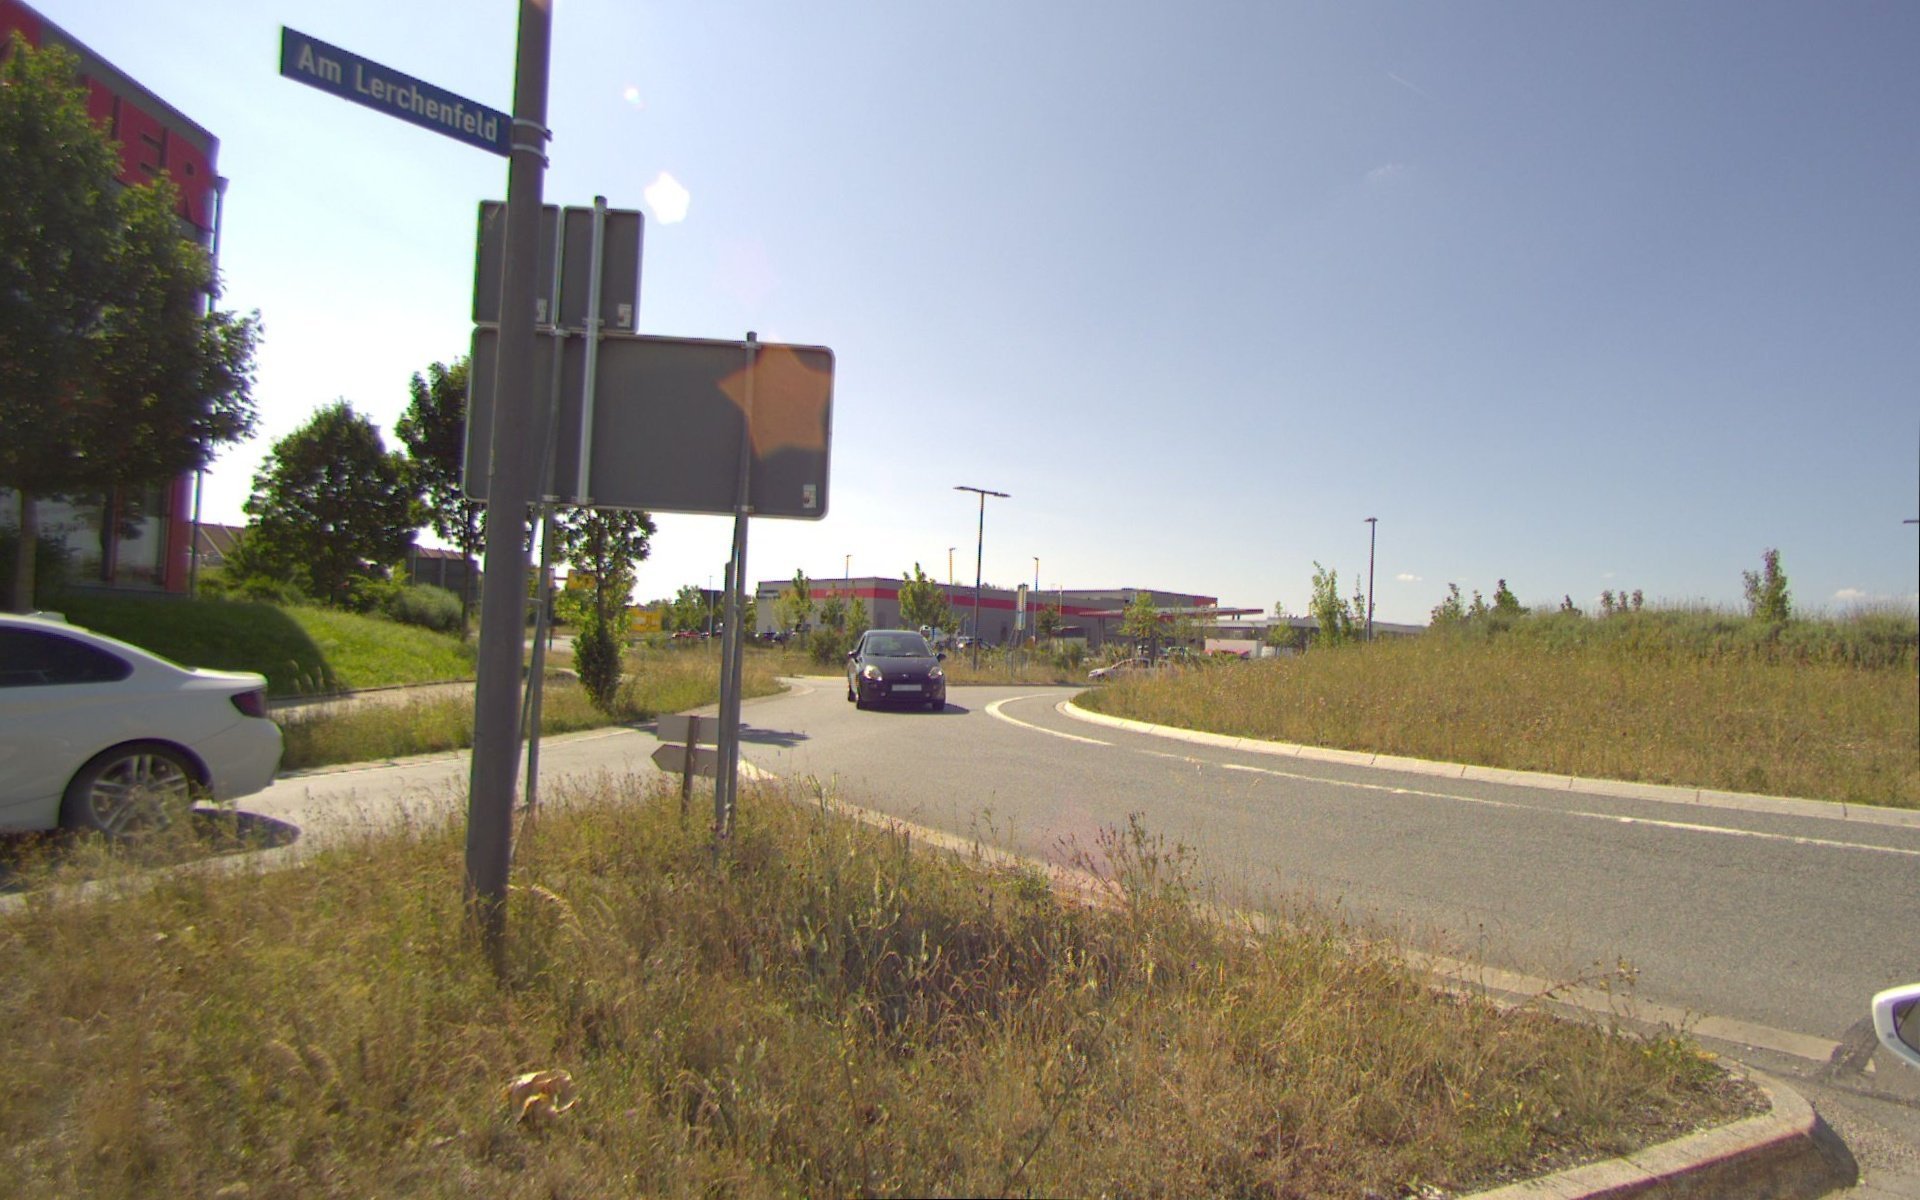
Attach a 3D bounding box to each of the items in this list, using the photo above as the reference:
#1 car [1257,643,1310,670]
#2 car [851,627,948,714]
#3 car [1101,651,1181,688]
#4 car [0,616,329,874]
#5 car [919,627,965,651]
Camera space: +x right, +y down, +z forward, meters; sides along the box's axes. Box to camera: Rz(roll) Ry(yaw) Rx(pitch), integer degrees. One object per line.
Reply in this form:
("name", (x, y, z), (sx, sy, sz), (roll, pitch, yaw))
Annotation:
("car", (27.151, 4.719, 84.179), (5.100, 2.040, 1.975), (5, -3, -42))
("car", (-1.092, 1.338, 19.669), (1.612, 1.507, 3.906), (1, -3, 0))
("car", (8.726, 3.323, 48.332), (3.690, 1.581, 1.846), (2, -3, 11))
("car", (-6.375, 0.775, 5.676), (1.767, 1.434, 4.371), (1, -3, 33))
("car", (-1.713, 3.660, 94.406), (3.973, 2.040, 1.975), (4, -3, -43))
